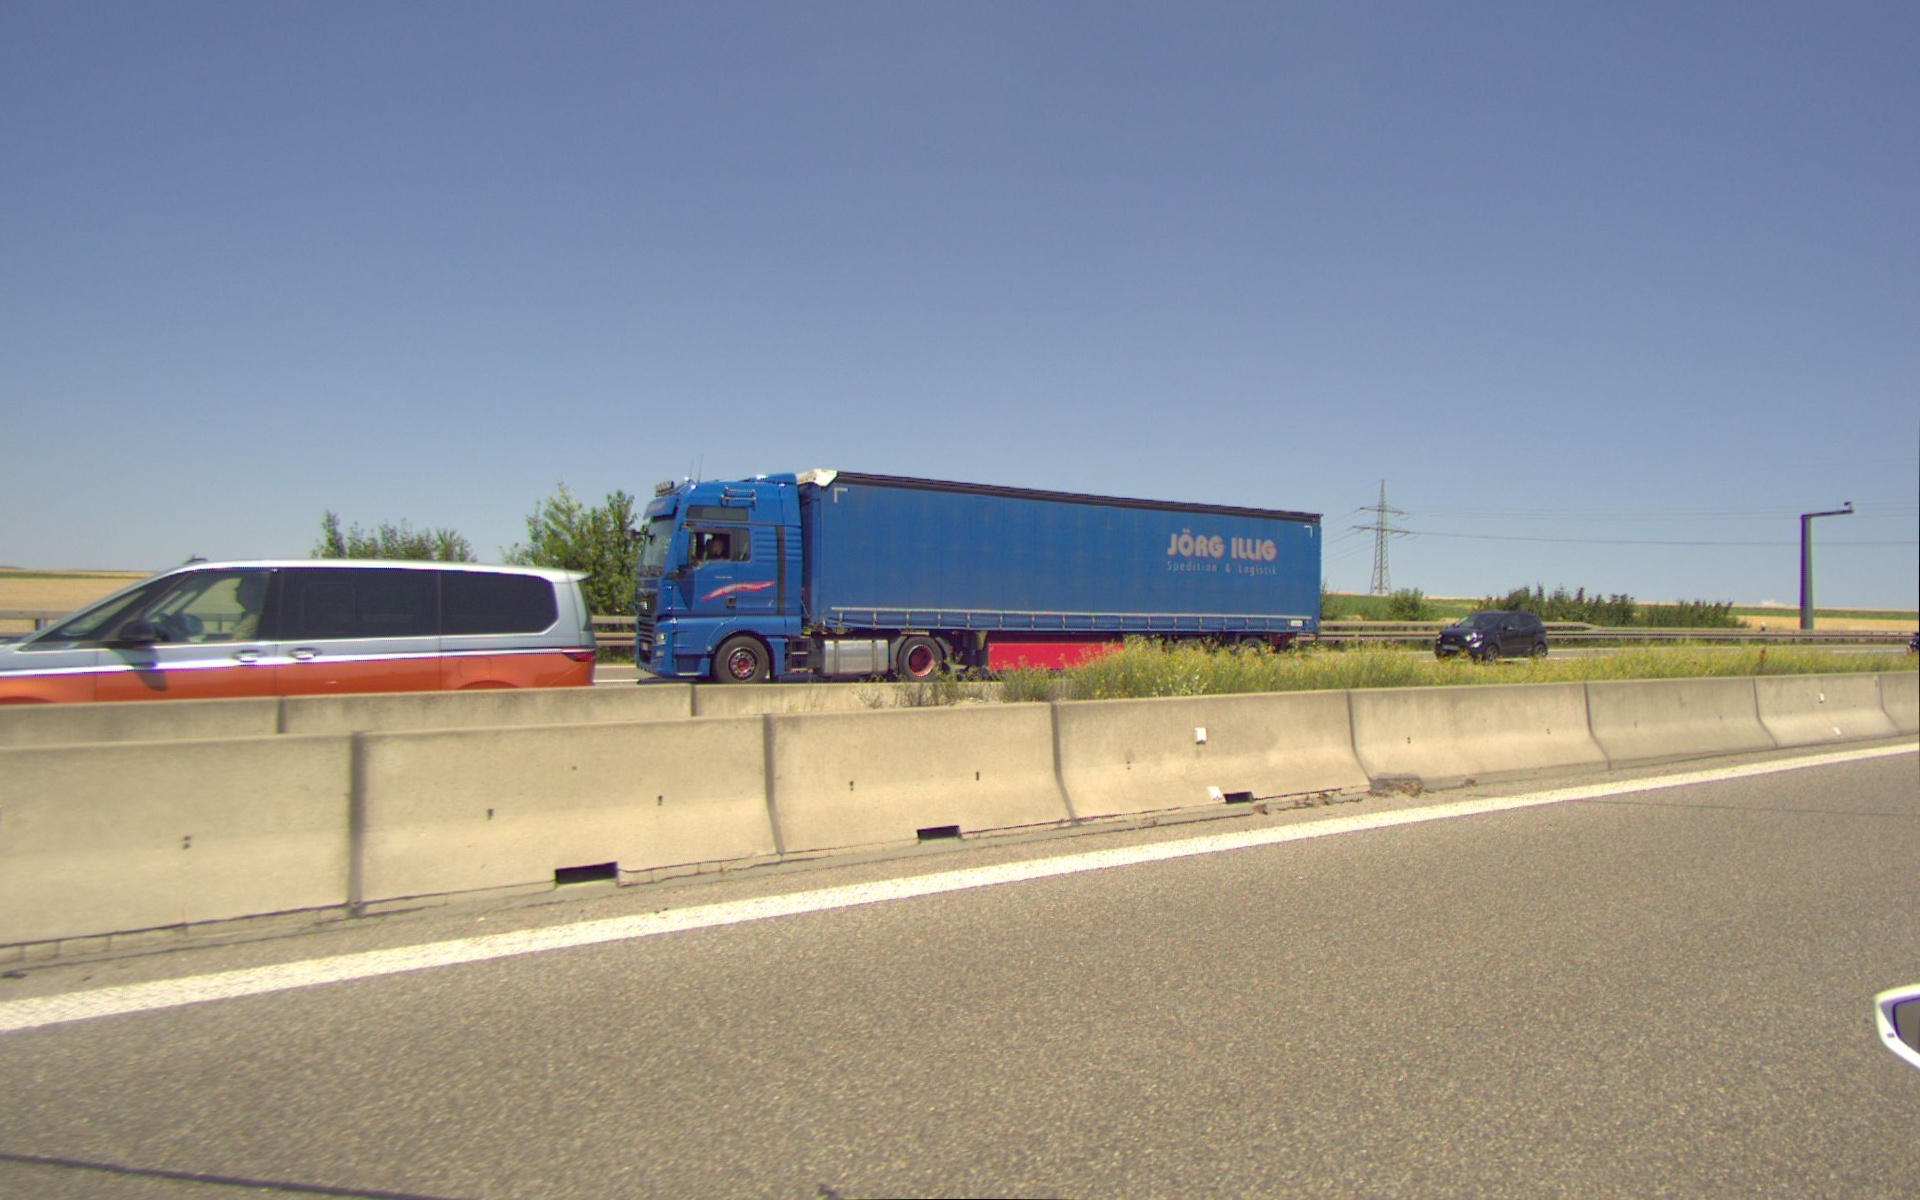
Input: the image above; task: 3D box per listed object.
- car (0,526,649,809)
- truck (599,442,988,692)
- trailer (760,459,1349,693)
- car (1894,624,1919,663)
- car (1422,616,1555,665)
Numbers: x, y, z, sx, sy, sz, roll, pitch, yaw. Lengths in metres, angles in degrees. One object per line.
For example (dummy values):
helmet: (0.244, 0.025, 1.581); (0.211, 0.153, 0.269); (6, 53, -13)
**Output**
car: (-5.719, 0.506, 8.841); (5.385, 1.996, 1.903); (2, 0, -31)
truck: (-3.189, -0.485, 19.694); (6.854, 4.144, 3.061); (1, 0, -30)
trailer: (2.798, -0.298, 23.141); (14.208, 4.250, 3.146); (2, 1, -30)
car: (37.650, 1.682, 38.655); (3.689, 1.422, 1.615); (1, 0, -33)
car: (16.574, 1.224, 31.468); (4.298, 1.404, 1.650); (1, 0, -30)
